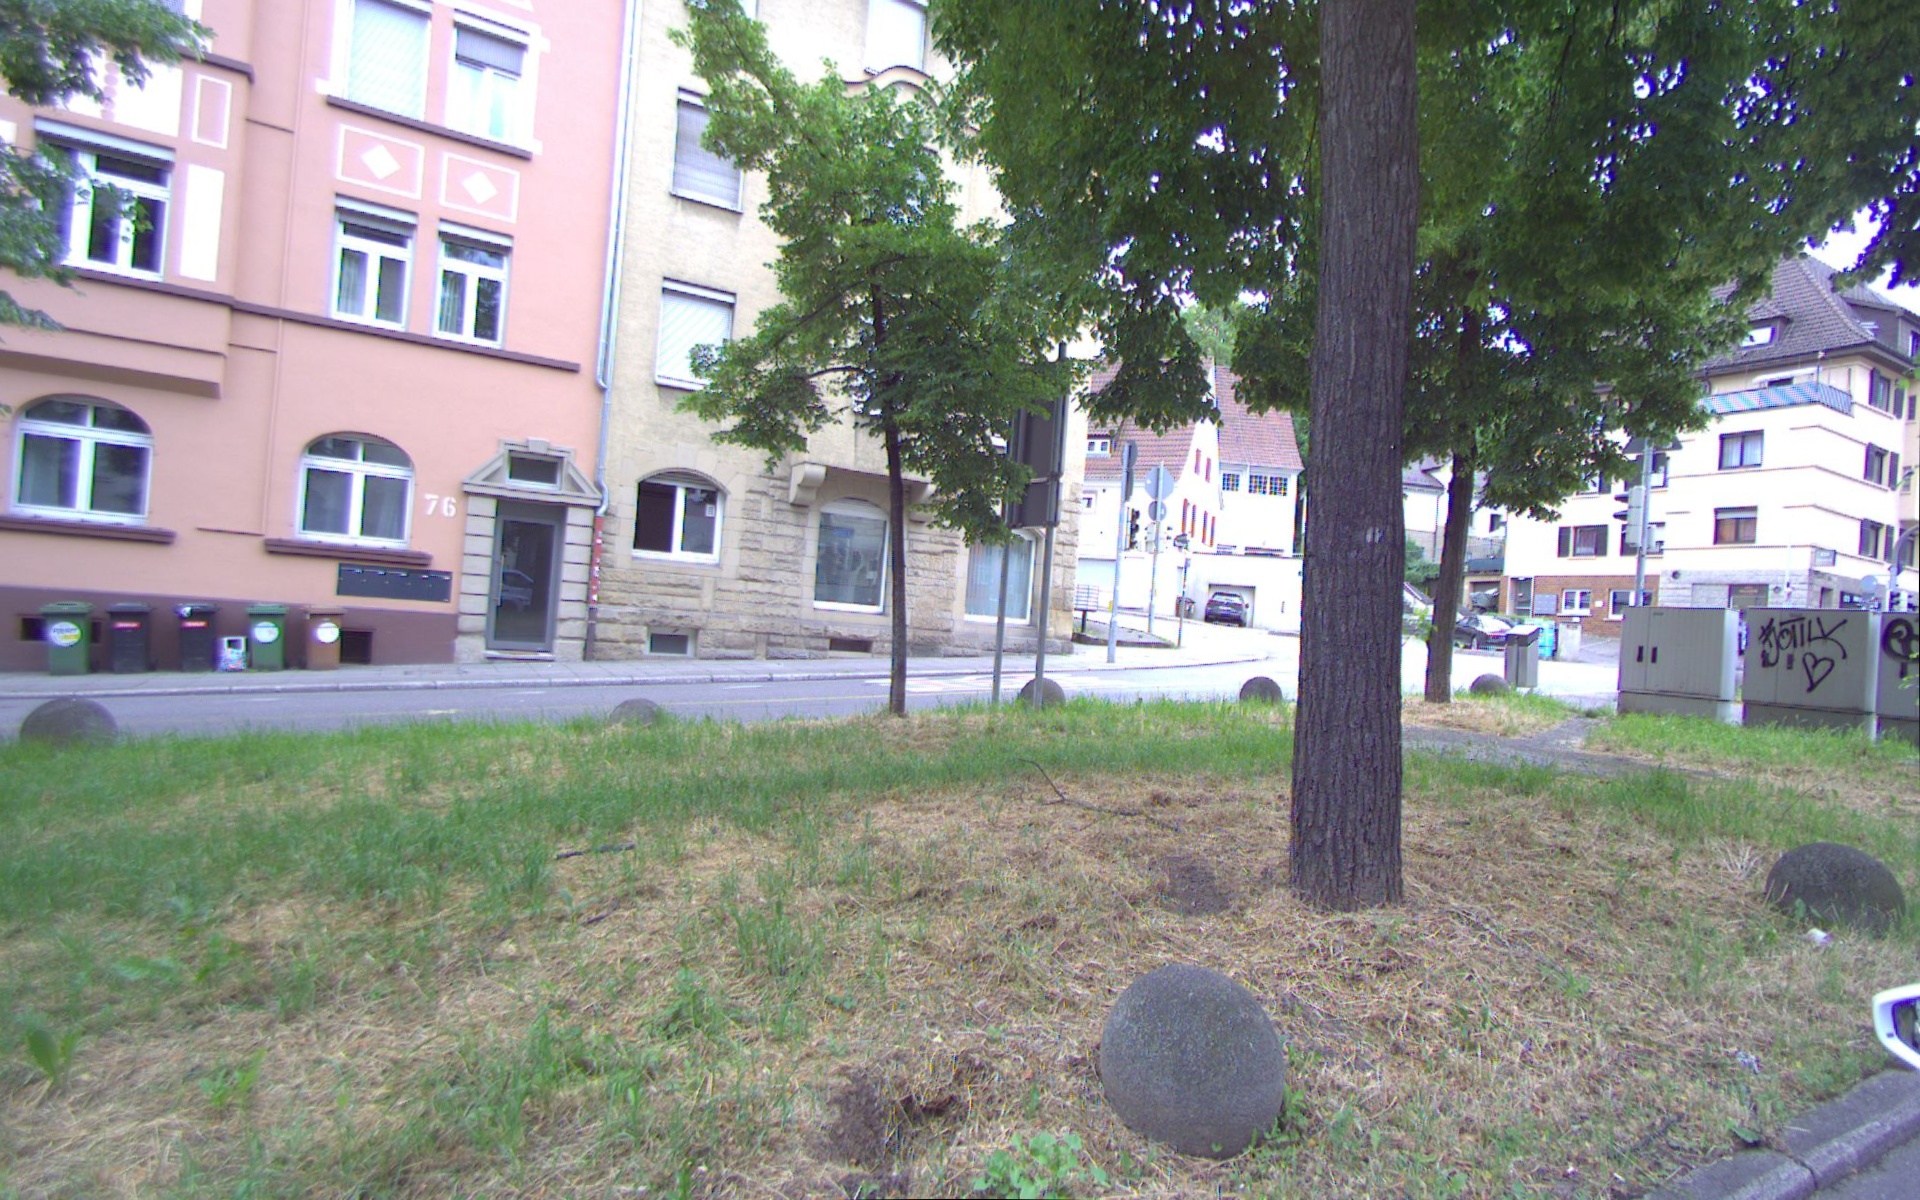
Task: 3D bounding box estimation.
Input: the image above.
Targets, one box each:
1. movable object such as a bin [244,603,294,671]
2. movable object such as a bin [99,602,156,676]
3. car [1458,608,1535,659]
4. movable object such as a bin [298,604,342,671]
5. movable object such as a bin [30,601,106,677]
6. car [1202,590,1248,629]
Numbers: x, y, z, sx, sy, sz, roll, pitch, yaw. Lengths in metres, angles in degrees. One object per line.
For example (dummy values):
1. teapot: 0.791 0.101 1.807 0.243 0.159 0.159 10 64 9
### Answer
1. movable object such as a bin: -9.795 0.515 14.251 0.554 0.934 0.649 2 0 -34
2. movable object such as a bin: -11.158 0.512 13.477 0.528 0.958 0.576 2 0 -36
3. car: 21.906 1.330 41.179 1.832 1.619 3.519 2 6 13
4. movable object such as a bin: -9.282 0.532 14.565 0.510 0.934 0.752 2 0 -34
5. movable object such as a bin: -11.654 0.500 13.144 0.611 0.961 0.613 2 0 -31
6. car: 11.787 0.374 44.797 1.638 1.424 3.058 7 3 11
